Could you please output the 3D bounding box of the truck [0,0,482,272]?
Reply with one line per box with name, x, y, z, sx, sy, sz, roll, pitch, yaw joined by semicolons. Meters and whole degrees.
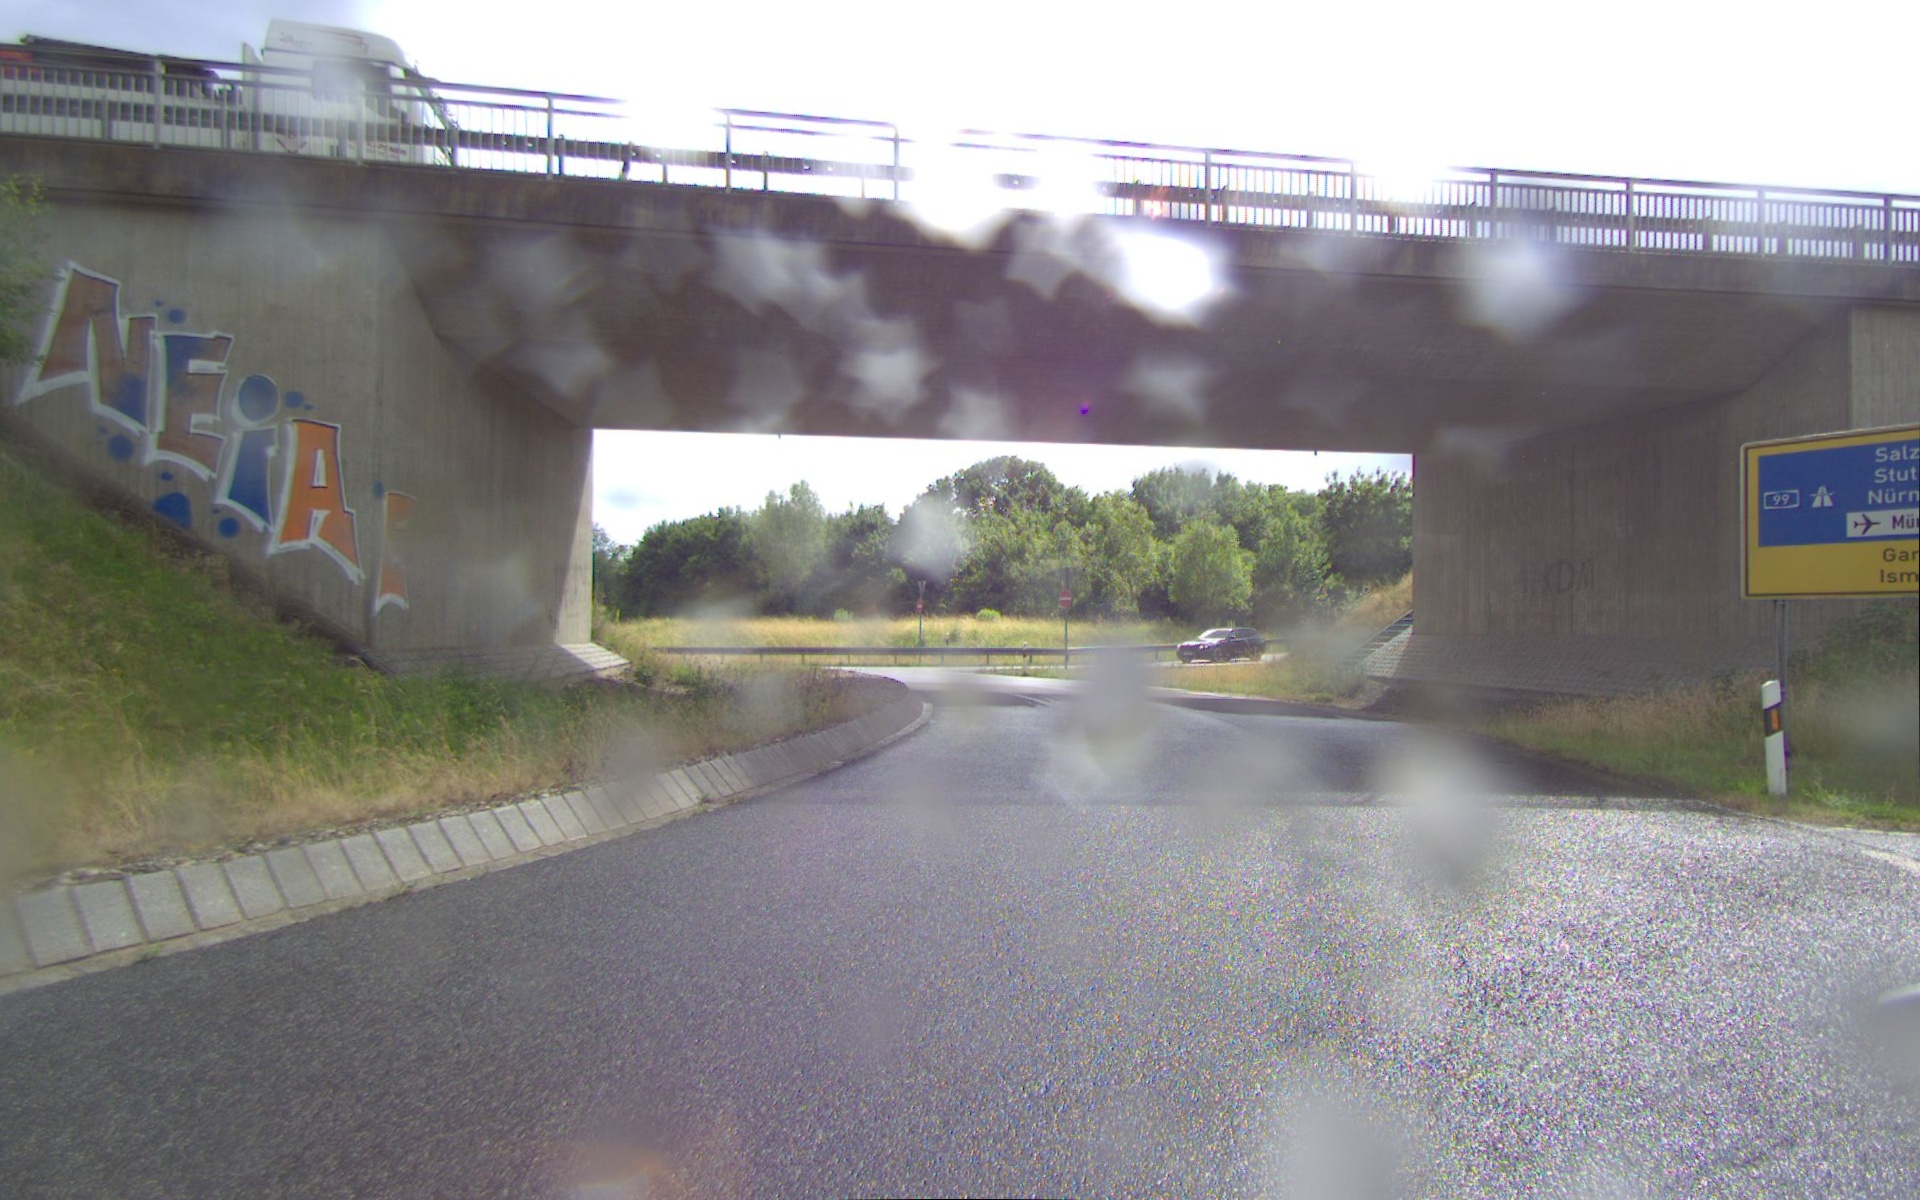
truck;-13.061;-7.103;14.726;10.637;2.912;2.202;1;0;-12
